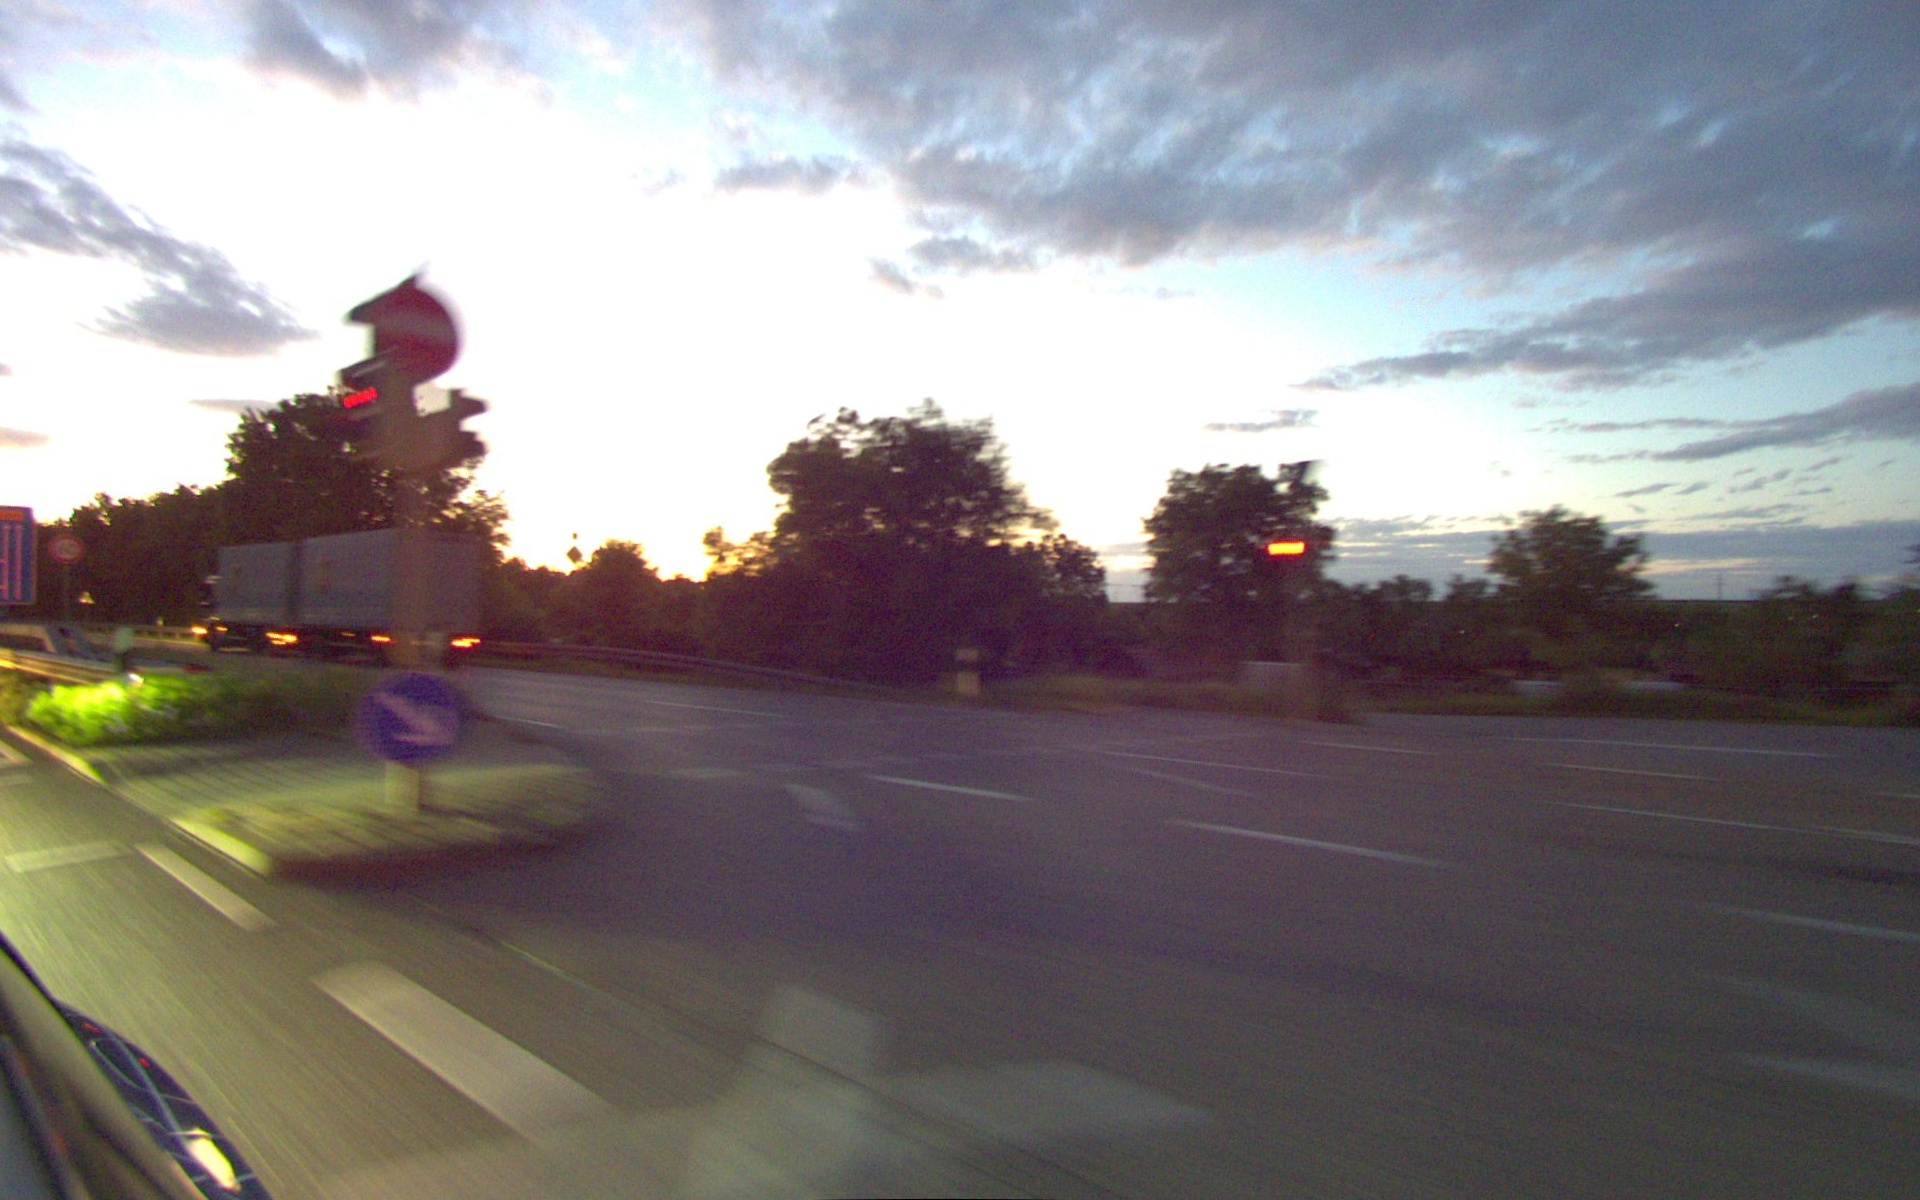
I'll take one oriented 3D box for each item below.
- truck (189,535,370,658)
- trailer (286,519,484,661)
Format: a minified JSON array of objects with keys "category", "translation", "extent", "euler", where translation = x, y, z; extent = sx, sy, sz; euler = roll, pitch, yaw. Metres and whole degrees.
[{"category":"truck","translation":[-25.933,-0.108,38.277],"extent":[10.333,4.148,2.699],"euler":[0,0,39]},{"category":"trailer","translation":[-18.397,-0.191,32.040],"extent":[8.872,3.973,2.550],"euler":[-1,-3,41]}]
